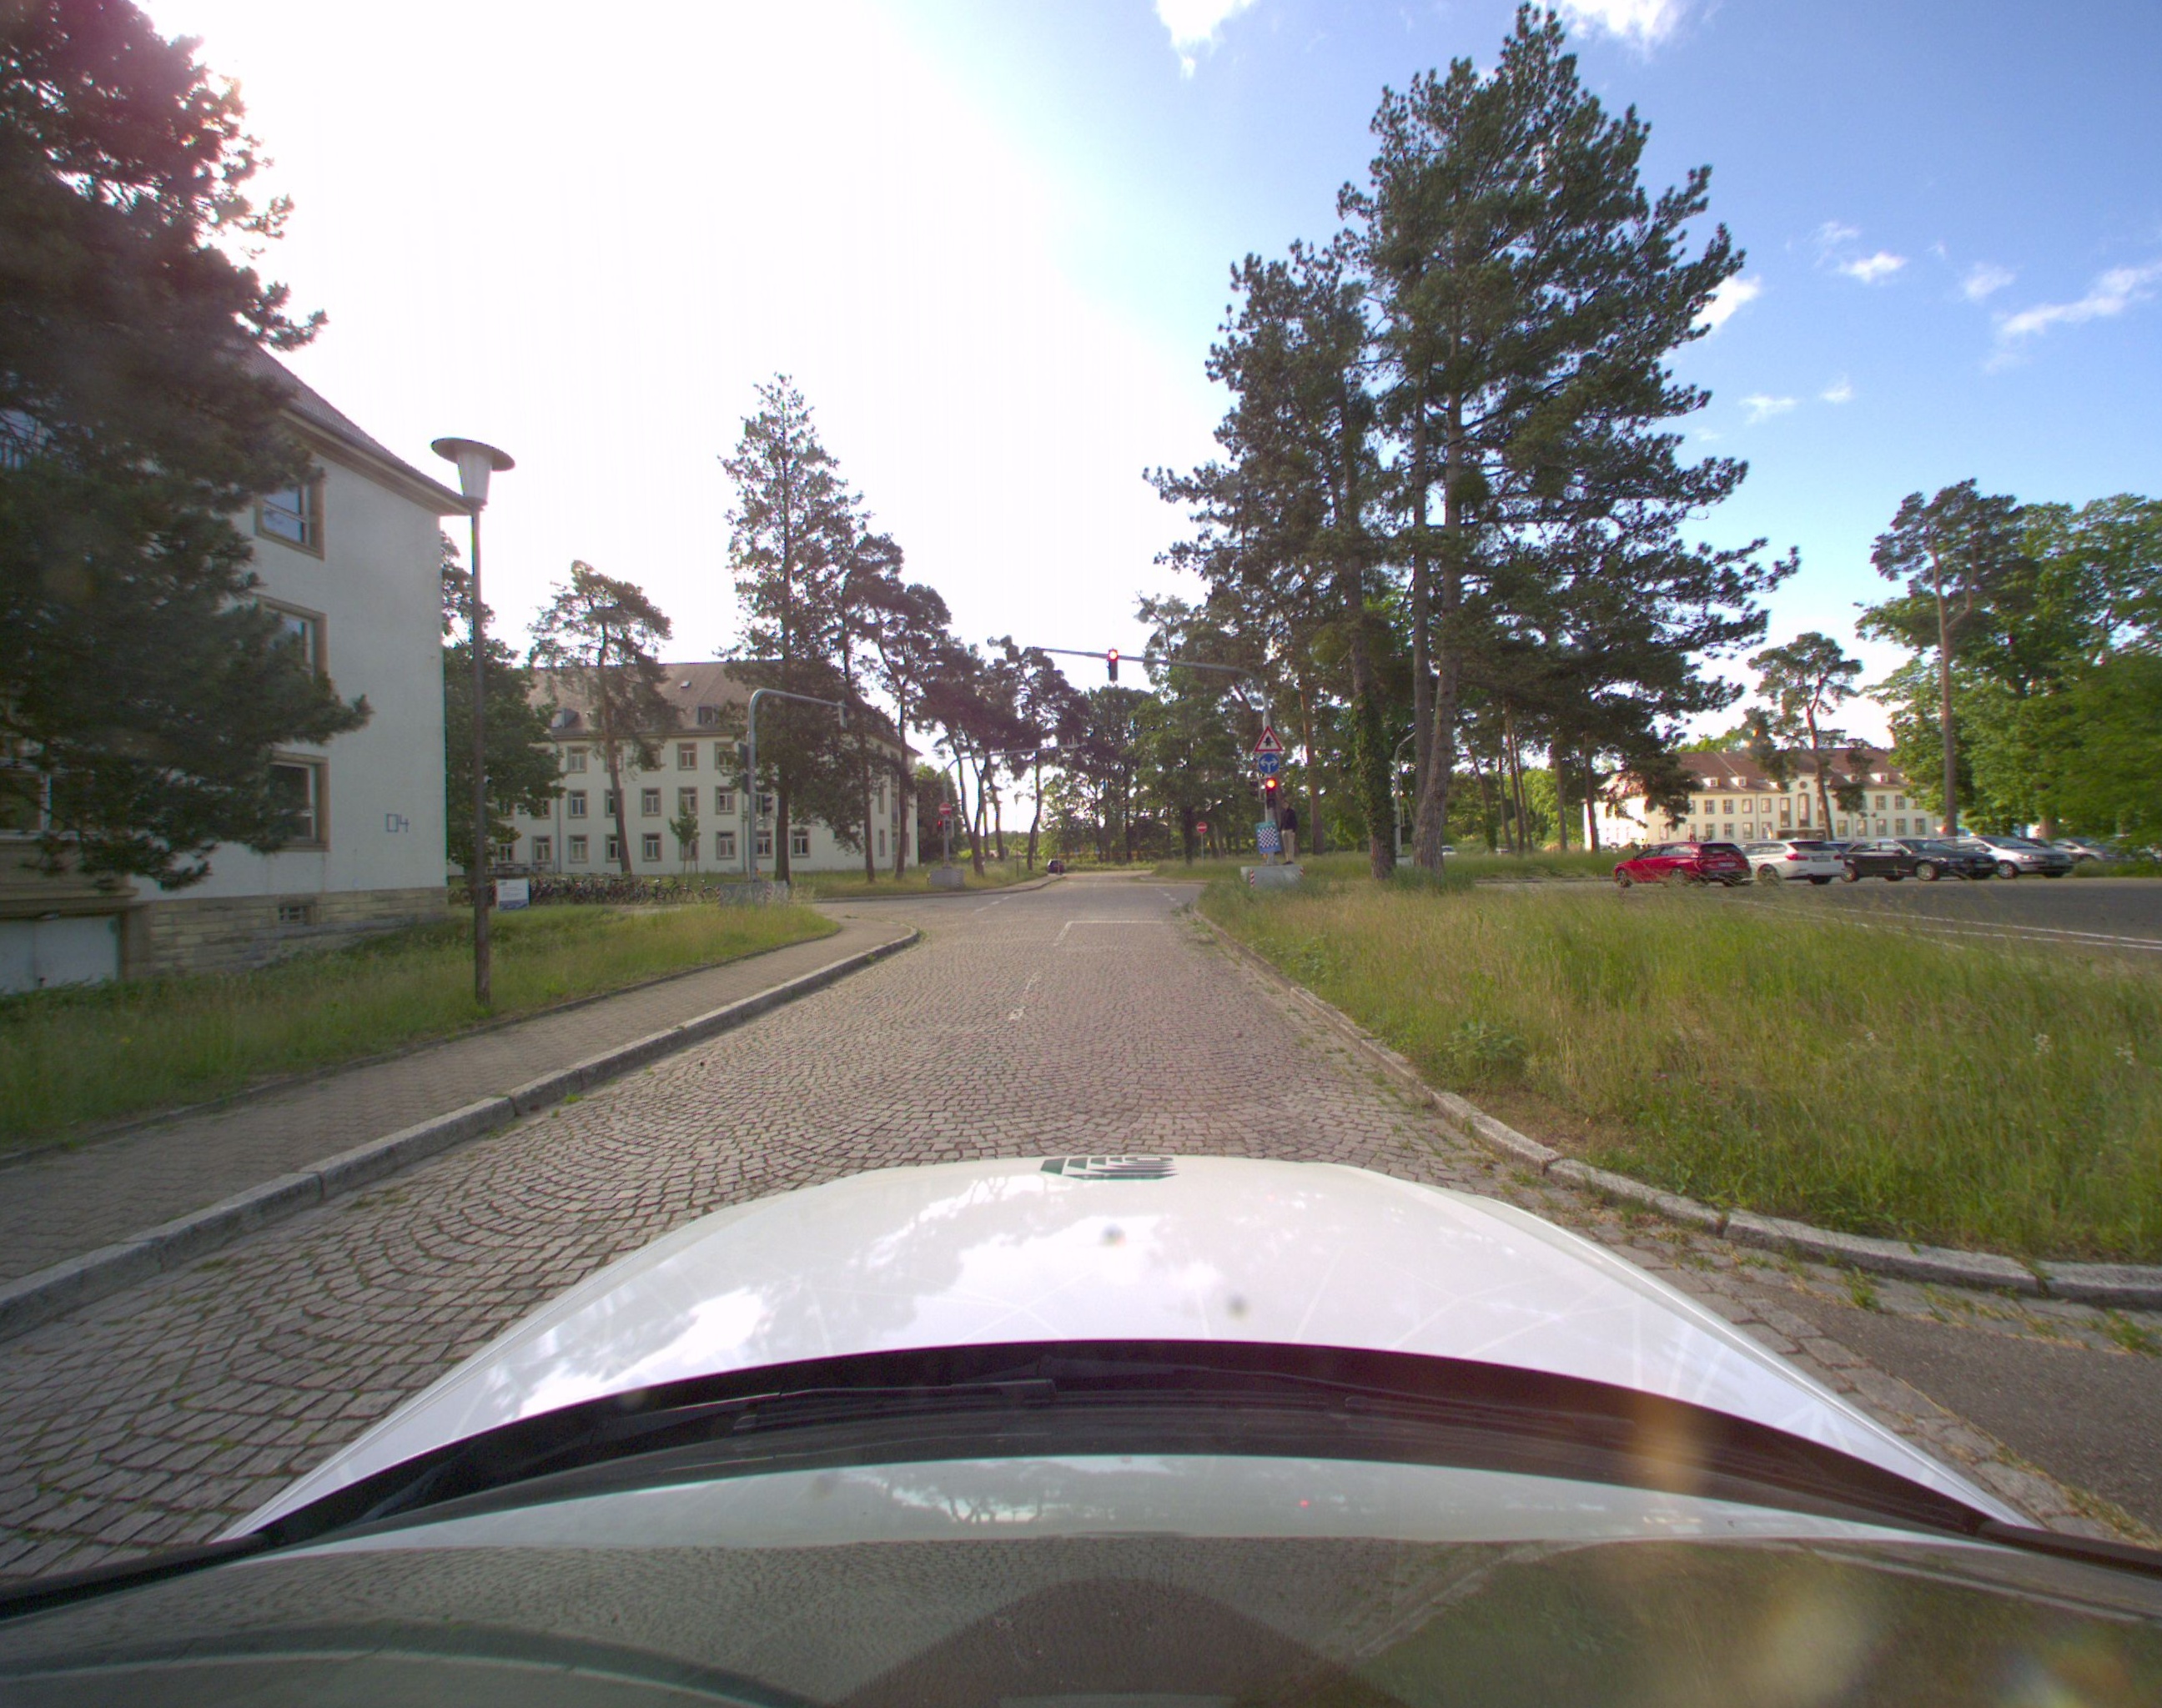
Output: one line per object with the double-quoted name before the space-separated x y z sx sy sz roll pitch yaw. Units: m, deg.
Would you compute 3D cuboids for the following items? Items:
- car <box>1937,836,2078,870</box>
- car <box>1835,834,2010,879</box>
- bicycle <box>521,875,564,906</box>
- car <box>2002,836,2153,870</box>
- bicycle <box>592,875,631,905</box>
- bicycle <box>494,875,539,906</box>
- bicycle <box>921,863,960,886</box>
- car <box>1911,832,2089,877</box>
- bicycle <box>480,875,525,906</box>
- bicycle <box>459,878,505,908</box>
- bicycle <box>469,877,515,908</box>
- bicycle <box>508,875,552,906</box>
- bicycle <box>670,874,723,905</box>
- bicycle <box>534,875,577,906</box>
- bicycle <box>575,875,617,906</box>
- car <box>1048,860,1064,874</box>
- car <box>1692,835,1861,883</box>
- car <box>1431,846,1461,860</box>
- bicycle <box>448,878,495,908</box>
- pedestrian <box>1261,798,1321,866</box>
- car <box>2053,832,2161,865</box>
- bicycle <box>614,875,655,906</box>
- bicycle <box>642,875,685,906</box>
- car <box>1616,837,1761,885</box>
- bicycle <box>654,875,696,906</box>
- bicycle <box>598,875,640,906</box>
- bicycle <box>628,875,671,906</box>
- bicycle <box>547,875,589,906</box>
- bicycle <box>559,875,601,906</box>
"car" 42.511 -0.037 37.526 1.717 1.493 4.243 0 0 2
"car" 27.267 0.084 26.595 1.610 1.315 4.047 -2 0 2
"bicycle" -22.996 1.541 34.820 0.512 1.220 1.938 -2 0 1
"car" 44.884 -0.021 36.839 1.717 1.425 4.243 0 0 2
"bicycle" -20.228 1.532 35.131 0.546 1.220 1.900 -2 0 1
"bicycle" -24.133 1.549 34.876 0.512 1.220 1.938 -2 0 1
"bicycle" -7.102 1.020 41.153 0.627 1.066 1.963 -2 0 40
"car" 30.094 0.038 26.855 1.716 1.372 3.796 0 0 4
"bicycle" -24.744 1.552 34.873 0.512 1.220 1.938 -2 0 1
"bicycle" -25.634 1.649 34.887 0.512 1.220 1.938 -2 0 1
"bicycle" -25.205 1.647 34.882 0.512 1.220 1.938 -2 0 1
"bicycle" -23.541 1.545 34.849 0.512 1.220 1.938 -2 0 1
"bicycle" -15.757 1.453 33.373 1.855 1.220 0.635 -2 0 1
"bicycle" -22.441 1.538 34.801 0.512 1.220 1.955 -2 0 1
"bicycle" -20.748 1.535 34.863 0.512 1.220 2.016 -2 0 1
"car" -2.761 1.397 90.479 1.704 1.496 3.918 -2 0 0
"car" 22.161 0.222 26.213 1.773 1.379 4.240 -2 -2 0
"car" 42.700 -0.144 95.346 1.820 1.582 4.164 -2 0 2
"bicycle" -26.082 1.652 34.901 0.512 1.220 1.938 -2 0 1
"pedestrian" 5.816 -0.598 22.561 1.068 1.796 1.158 -2 0 -39
"car" 47.901 -0.229 37.338 1.717 1.468 4.243 0 0 2
"bicycle" -18.923 1.522 34.561 0.570 1.220 1.990 -2 0 1
"bicycle" -17.475 1.511 34.148 0.630 1.220 2.124 -2 0 1
"car" 19.310 0.262 26.135 1.649 1.399 4.131 0 -1 2
"bicycle" -16.992 1.507 34.150 0.630 1.220 2.115 -2 0 1
"bicycle" -19.667 1.529 34.701 0.576 1.220 2.030 -2 0 1
"bicycle" -18.079 1.515 34.163 0.630 1.220 2.105 -2 0 1
"bicycle" -21.915 1.538 34.827 0.512 1.220 1.977 -2 0 1
"bicycle" -21.397 1.538 34.825 0.512 1.220 1.977 -2 0 1
